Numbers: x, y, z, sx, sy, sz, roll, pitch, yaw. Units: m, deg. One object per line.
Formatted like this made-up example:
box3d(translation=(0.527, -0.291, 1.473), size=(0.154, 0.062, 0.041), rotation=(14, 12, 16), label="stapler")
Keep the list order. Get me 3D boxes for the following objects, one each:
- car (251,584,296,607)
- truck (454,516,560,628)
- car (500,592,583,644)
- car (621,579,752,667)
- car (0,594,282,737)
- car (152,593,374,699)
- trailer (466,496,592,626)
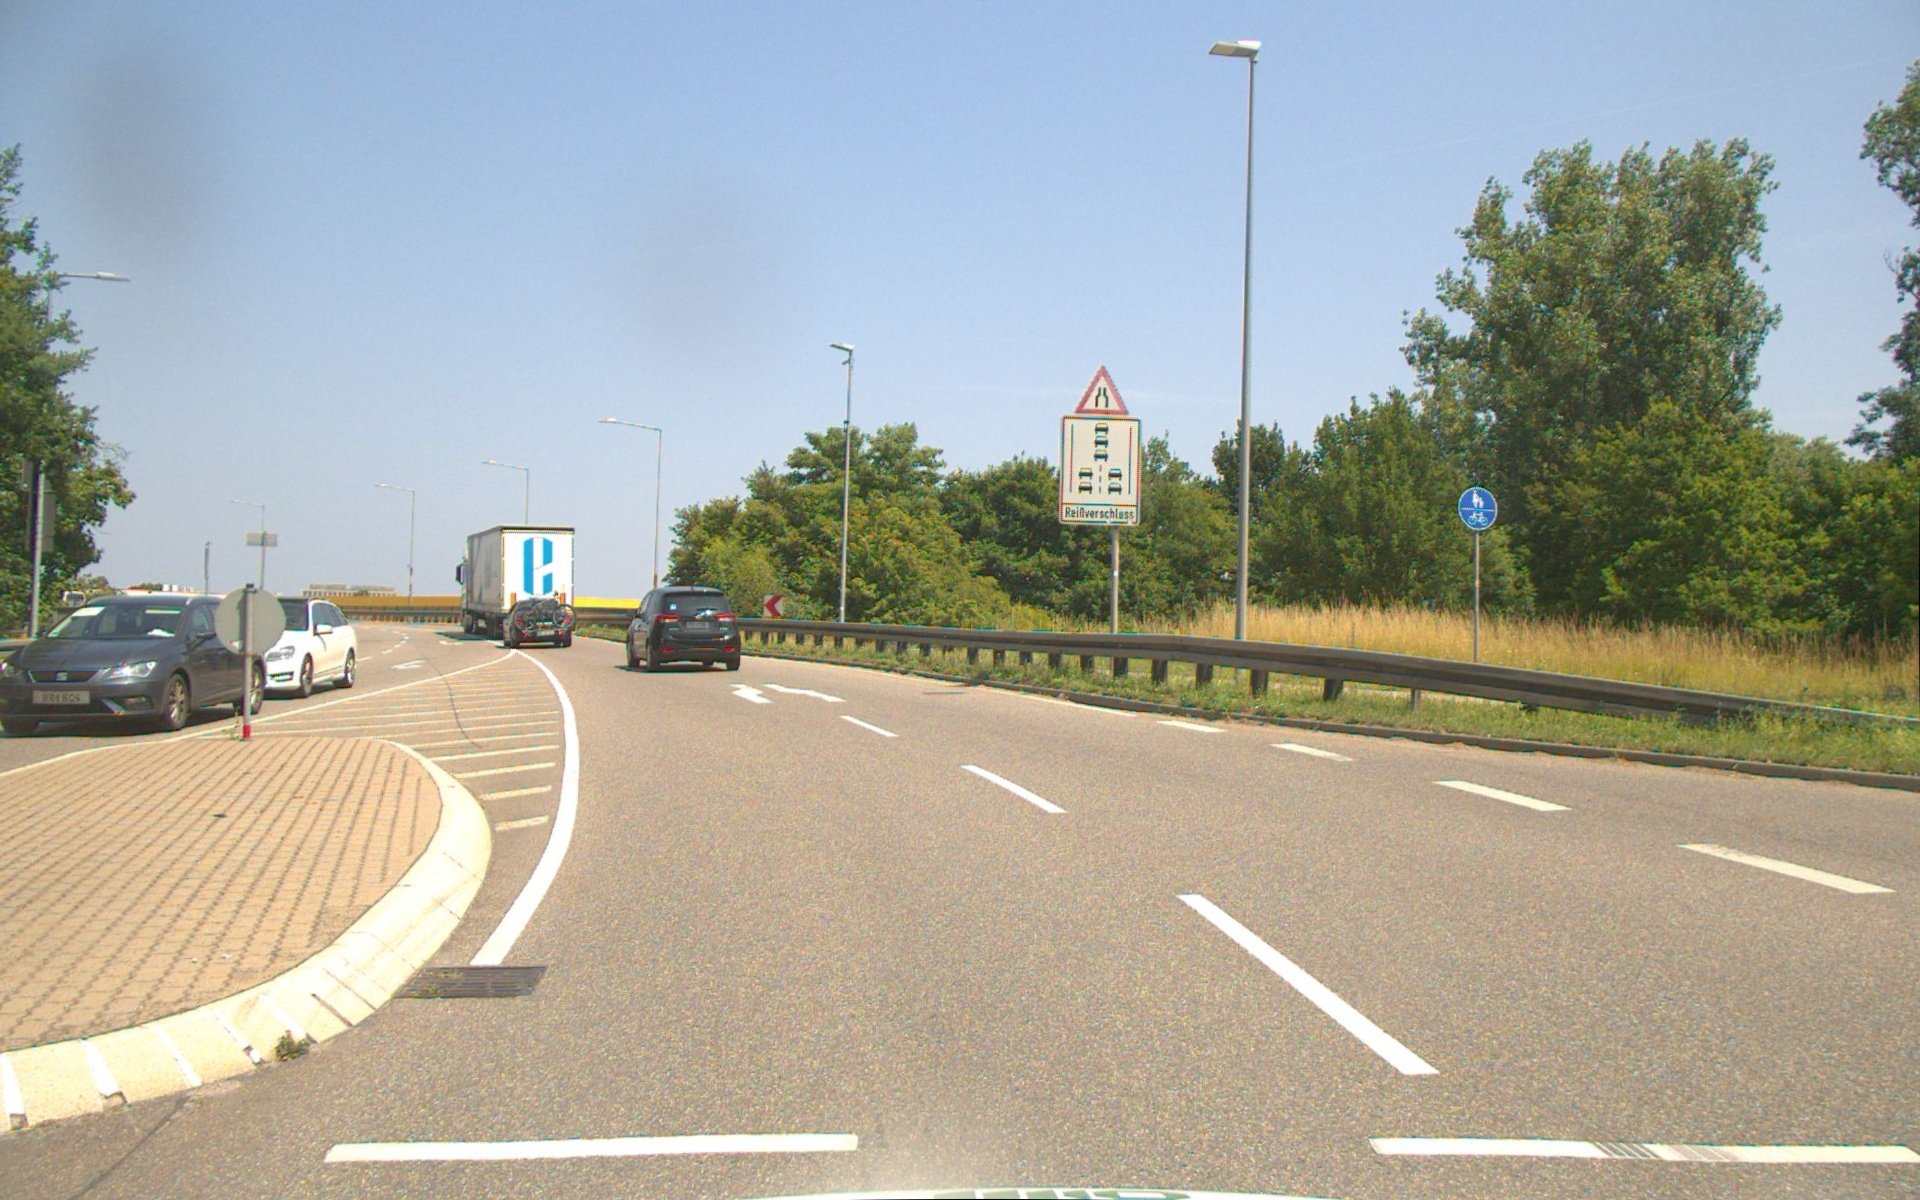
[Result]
box3d(translation=(-47.018, -0.300, 113.249), size=(1.830, 1.534, 3.579), rotation=(1, 0, -42), label="car")
box3d(translation=(-19.398, -1.132, 70.527), size=(3.524, 4.519, 6.470), rotation=(1, 0, -23), label="truck")
box3d(translation=(-12.417, 0.524, 48.981), size=(1.982, 1.454, 3.754), rotation=(1, 0, -20), label="car")
box3d(translation=(-5.411, 0.429, 32.391), size=(1.892, 1.601, 3.870), rotation=(1, 0, -19), label="car")
box3d(translation=(-9.299, 0.655, 18.798), size=(1.793, 1.431, 4.539), rotation=(0, 0, -7), label="car")
box3d(translation=(-10.389, 0.638, 25.056), size=(1.793, 1.431, 4.880), rotation=(1, 0, -7), label="car")
box3d(translation=(-16.754, -1.359, 63.602), size=(3.518, 4.461, 11.370), rotation=(1, 0, -20), label="trailer")
